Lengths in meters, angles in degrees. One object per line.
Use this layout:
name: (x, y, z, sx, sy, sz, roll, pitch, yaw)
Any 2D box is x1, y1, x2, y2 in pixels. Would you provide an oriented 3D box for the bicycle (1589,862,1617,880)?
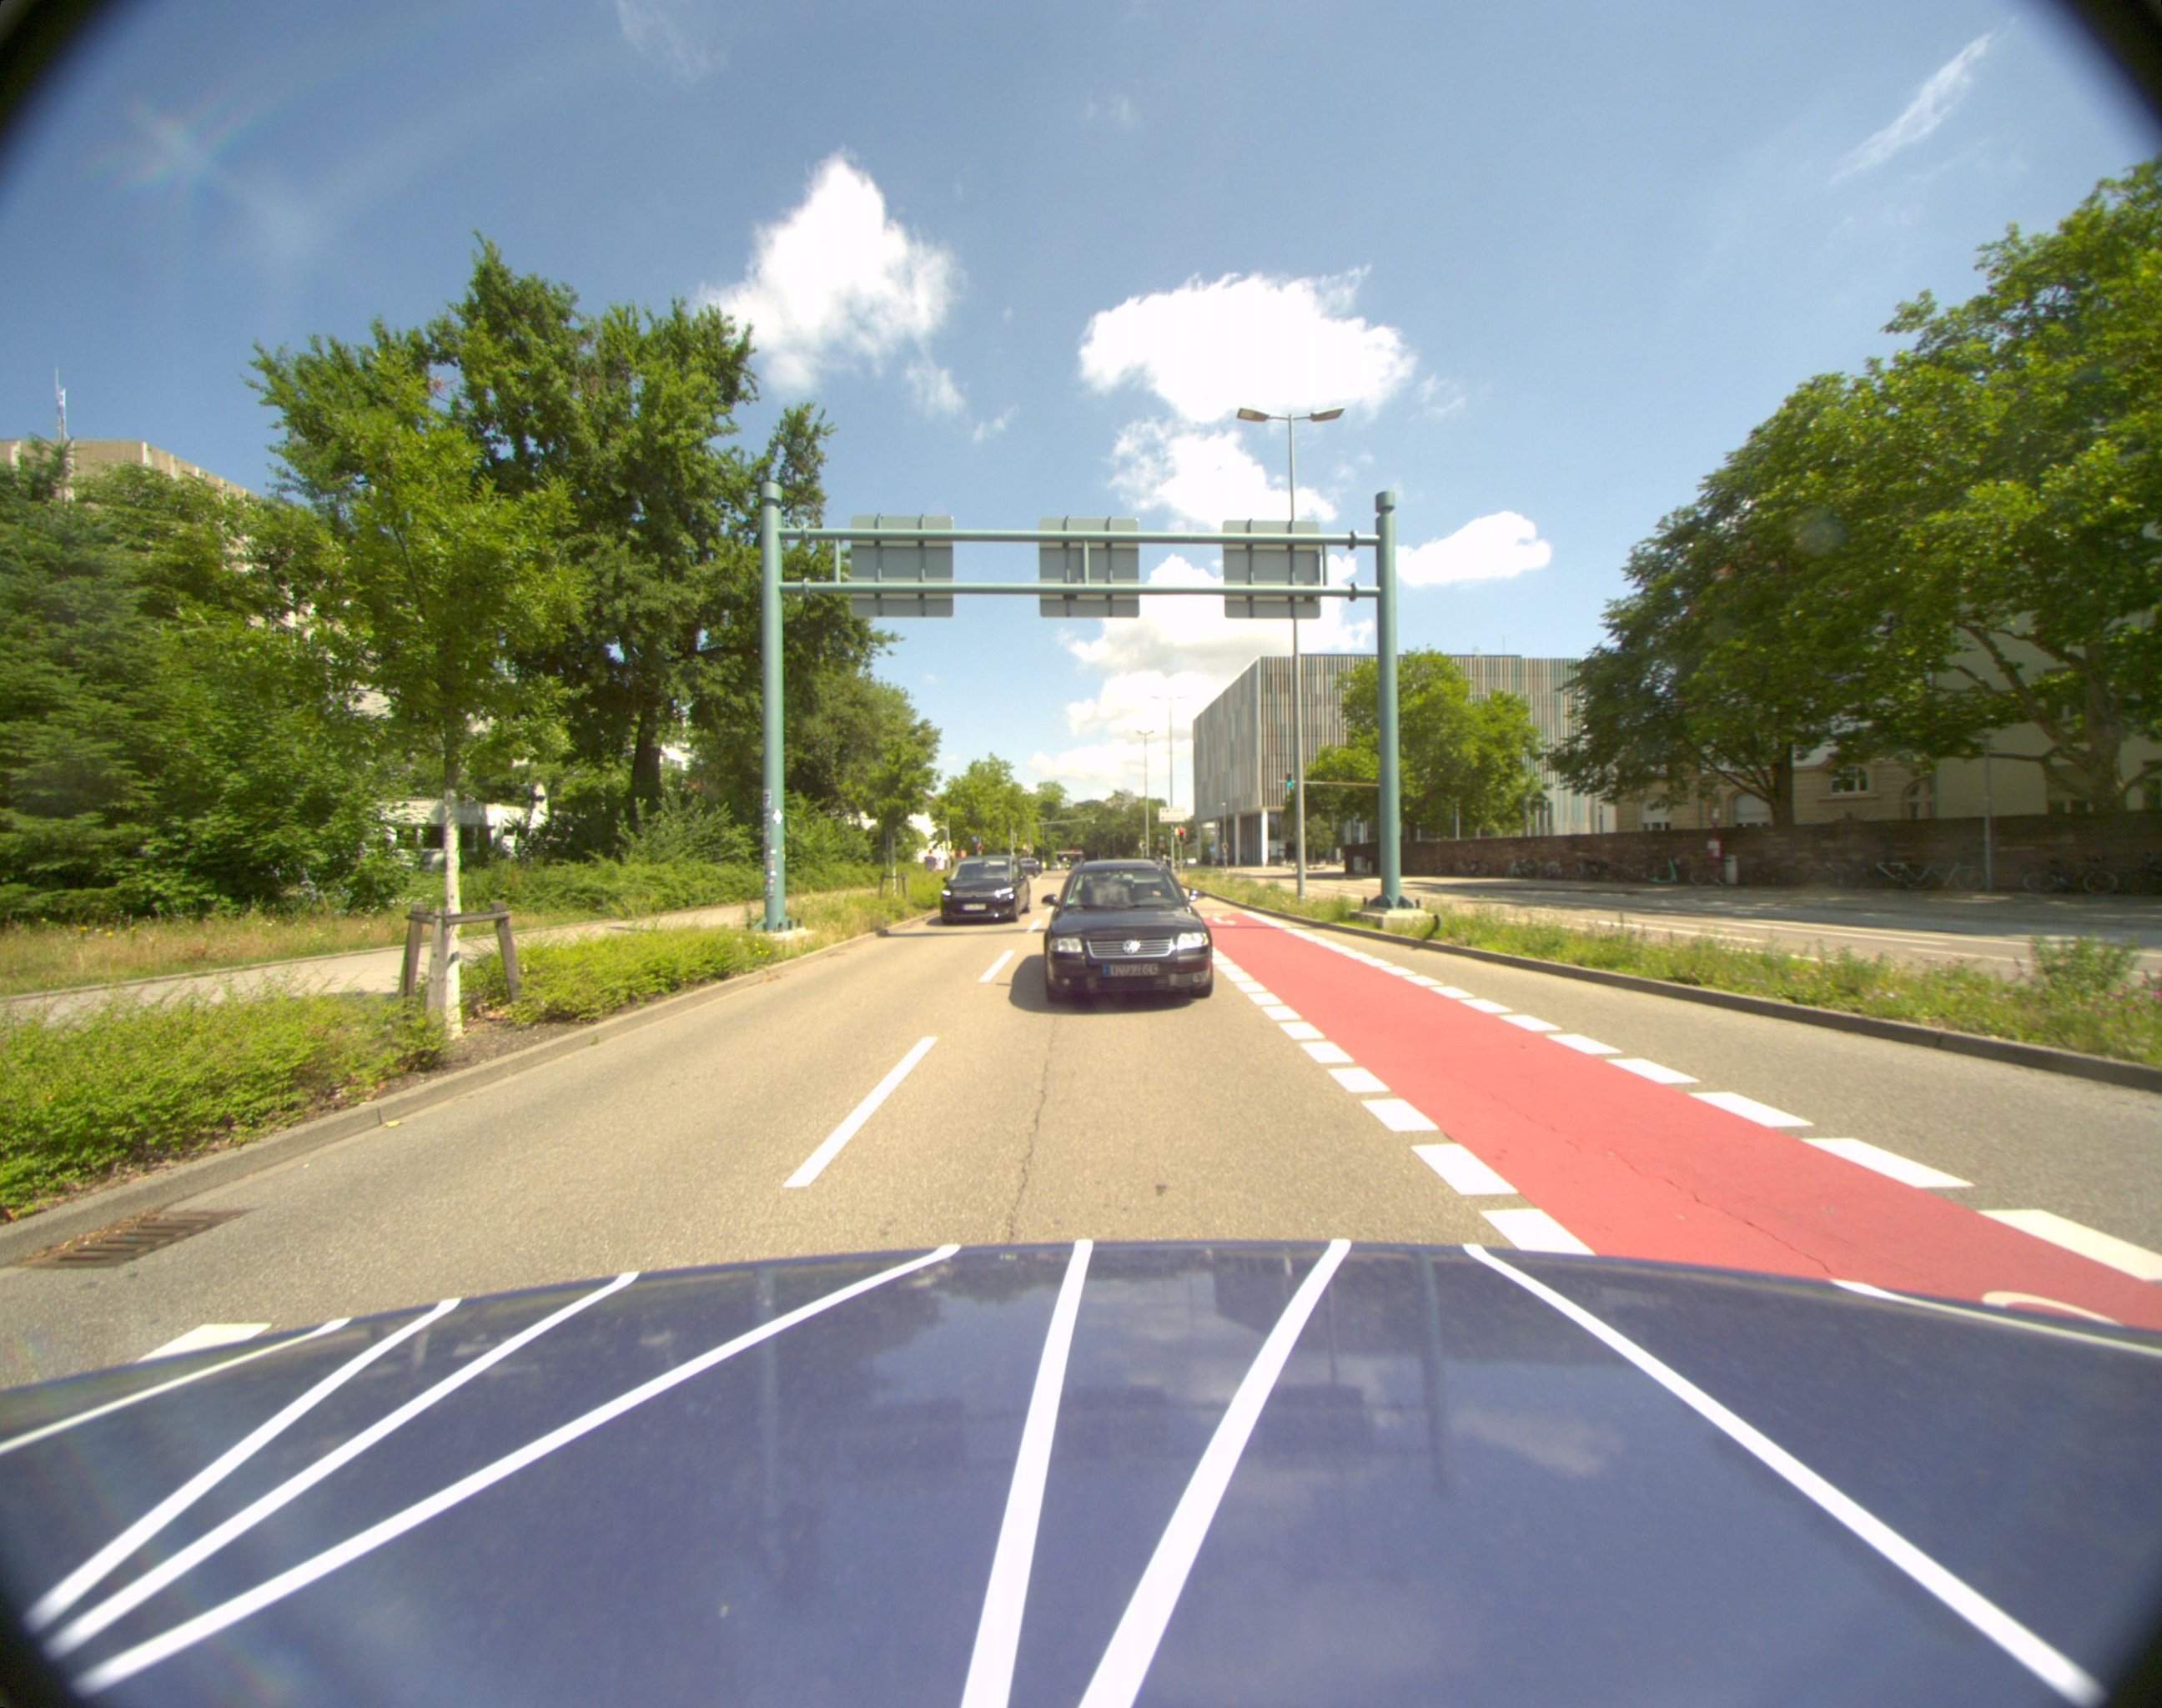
bicycle: (24.033, 0.780, 35.011, 0.265, 0.826, 1.235, -1, 0, -11)

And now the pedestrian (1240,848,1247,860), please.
pedestrian: (27.117, 0.071, 126.623, 0.864, 2.002, 0.995, -1, 0, 0)

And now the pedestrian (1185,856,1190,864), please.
pedestrian: (17.773, 1.019, 127.159, 0.696, 1.445, 0.689, -1, 0, 3)

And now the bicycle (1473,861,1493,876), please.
bicycle: (22.967, 0.810, 43.452, 0.265, 0.826, 1.234, -1, 0, -11)

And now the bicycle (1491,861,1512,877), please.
bicycle: (23.160, 0.813, 41.819, 0.265, 0.826, 1.234, -1, 0, -11)

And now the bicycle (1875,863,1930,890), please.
bicycle: (25.979, 0.697, 24.054, 0.265, 0.826, 1.235, -1, 0, -11)

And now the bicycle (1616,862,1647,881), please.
bicycle: (24.160, 0.767, 33.354, 0.265, 0.826, 1.235, -1, 0, -11)

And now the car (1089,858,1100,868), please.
car: (2.140, 1.438, 121.795, 1.806, 1.361, 4.157, -1, 1, 1)

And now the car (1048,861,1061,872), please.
car: (-4.308, 1.942, 122.154, 1.816, 1.598, 4.479, -3, 0, 1)

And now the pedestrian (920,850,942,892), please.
pedestrian: (-6.403, 0.710, 32.460, 0.639, 1.754, 0.887, -1, 0, 7)

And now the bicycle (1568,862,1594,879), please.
bicycle: (23.856, 0.776, 36.266, 0.265, 0.826, 1.235, -1, 0, -11)

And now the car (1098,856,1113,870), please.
car: (2.863, 1.018, 89.539, 1.723, 1.545, 4.594, -3, 0, 1)

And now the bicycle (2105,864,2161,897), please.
bicycle: (27.131, 0.673, 19.362, 0.265, 0.826, 1.234, -1, 0, -13)

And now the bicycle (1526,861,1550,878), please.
bicycle: (23.461, 0.784, 39.011, 0.265, 0.826, 1.235, -1, 0, -11)

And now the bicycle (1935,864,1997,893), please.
bicycle: (26.246, 0.718, 22.544, 0.265, 0.826, 1.235, -1, 0, -11)

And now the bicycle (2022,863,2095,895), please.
bicycle: (26.639, 0.666, 20.727, 0.265, 0.826, 1.234, -1, 0, -13)

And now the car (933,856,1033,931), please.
car: (-2.339, 0.895, 19.285, 1.816, 1.598, 4.479, -3, 0, 1)

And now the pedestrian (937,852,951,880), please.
pedestrian: (-10.215, 0.870, 56.672, 0.847, 2.026, 0.900, -1, 0, -19)

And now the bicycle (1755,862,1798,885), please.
bicycle: (25.193, 0.689, 27.536, 0.265, 0.826, 1.235, -1, 0, -11)

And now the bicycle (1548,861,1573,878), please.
bicycle: (23.664, 0.745, 37.514, 0.265, 0.826, 1.235, -1, 0, -11)

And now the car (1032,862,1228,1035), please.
car: (0.480, 0.888, 9.217, 1.723, 1.472, 4.594, -3, 0, 1)

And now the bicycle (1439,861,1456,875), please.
bicycle: (22.498, 0.871, 46.665, 0.265, 0.826, 1.235, -1, 0, -11)

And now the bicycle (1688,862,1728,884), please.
bicycle: (24.824, 0.736, 30.096, 0.265, 0.826, 1.233, -1, 0, -21)

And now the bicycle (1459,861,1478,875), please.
bicycle: (22.815, 0.827, 44.770, 0.265, 0.826, 1.235, -1, 0, -11)

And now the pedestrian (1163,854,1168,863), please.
pedestrian: (15.532, 0.898, 139.889, 0.864, 1.647, 0.995, -1, 0, -1)

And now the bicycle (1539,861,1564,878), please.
bicycle: (23.226, 0.745, 37.549, 0.265, 0.826, 1.234, -1, 0, -11)

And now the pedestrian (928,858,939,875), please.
pedestrian: (-13.743, 1.180, 70.768, 0.764, 1.601, 0.768, -1, 0, 10)

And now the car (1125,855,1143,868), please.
car: (7.101, 1.025, 101.900, 1.999, 1.701, 4.512, -1, 0, -1)

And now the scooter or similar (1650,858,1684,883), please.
scooter or similar: (24.580, 0.682, 31.866, 0.266, 1.014, 1.140, -1, 0, -22)

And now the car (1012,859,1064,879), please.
car: (-4.012, 1.401, 70.884, 4.484, 1.598, 1.814, -2, 0, -25)

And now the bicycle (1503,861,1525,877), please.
bicycle: (22.860, 0.804, 40.100, 0.265, 0.826, 1.234, -1, 0, -11)

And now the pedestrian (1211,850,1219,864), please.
pedestrian: (18.695, 0.432, 106.227, 0.864, 2.002, 0.995, -1, 0, -1)

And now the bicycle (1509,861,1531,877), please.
bicycle: (23.366, 0.786, 40.424, 0.265, 0.826, 1.234, -1, 0, -11)

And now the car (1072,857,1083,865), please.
car: (-0.607, 1.234, 136.183, 1.806, 1.361, 4.157, -1, 1, 1)

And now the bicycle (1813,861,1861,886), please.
bicycle: (25.716, 0.639, 25.872, 0.265, 0.826, 1.235, -1, 0, -11)

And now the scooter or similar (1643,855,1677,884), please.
scooter or similar: (23.802, 0.619, 31.248, 0.265, 1.182, 1.234, -1, 0, -11)
